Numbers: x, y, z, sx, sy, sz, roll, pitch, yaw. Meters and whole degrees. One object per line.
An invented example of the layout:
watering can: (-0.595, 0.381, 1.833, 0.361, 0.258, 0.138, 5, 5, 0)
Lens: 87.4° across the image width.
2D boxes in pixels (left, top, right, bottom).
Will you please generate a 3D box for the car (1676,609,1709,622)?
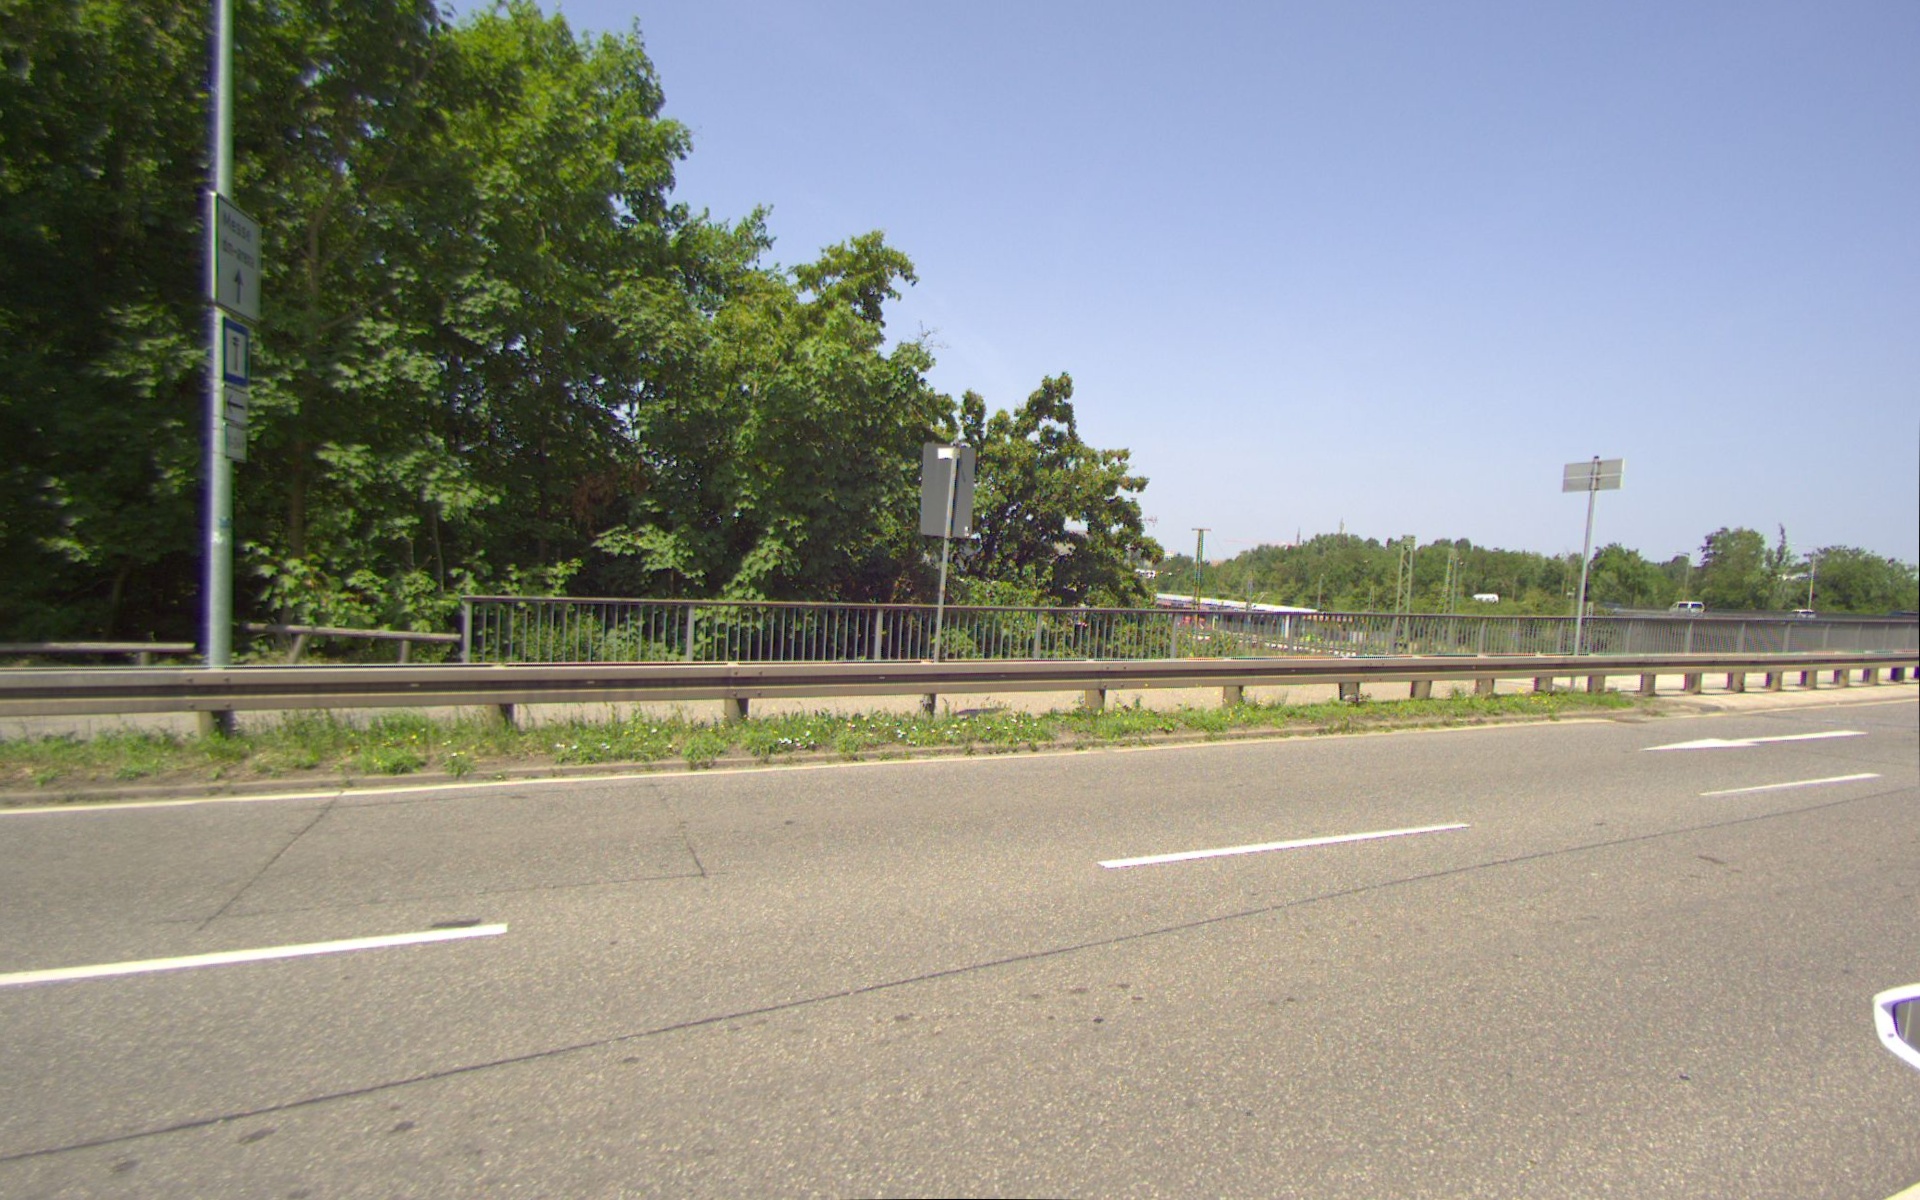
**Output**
car: (91.949, 1.975, 126.118, 1.532, 1.405, 3.616, 2, 2, 4)

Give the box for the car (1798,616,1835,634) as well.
car: (86.582, 2.513, 101.600, 1.647, 1.662, 3.768, 3, 2, 22)

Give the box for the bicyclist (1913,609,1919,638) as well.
bicyclist: (63.391, 1.546, 66.156, 0.615, 1.911, 0.711, 3, 2, 30)

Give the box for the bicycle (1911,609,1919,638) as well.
bicycle: (63.360, 1.563, 66.036, 0.688, 1.826, 2.176, 3, 2, 30)
